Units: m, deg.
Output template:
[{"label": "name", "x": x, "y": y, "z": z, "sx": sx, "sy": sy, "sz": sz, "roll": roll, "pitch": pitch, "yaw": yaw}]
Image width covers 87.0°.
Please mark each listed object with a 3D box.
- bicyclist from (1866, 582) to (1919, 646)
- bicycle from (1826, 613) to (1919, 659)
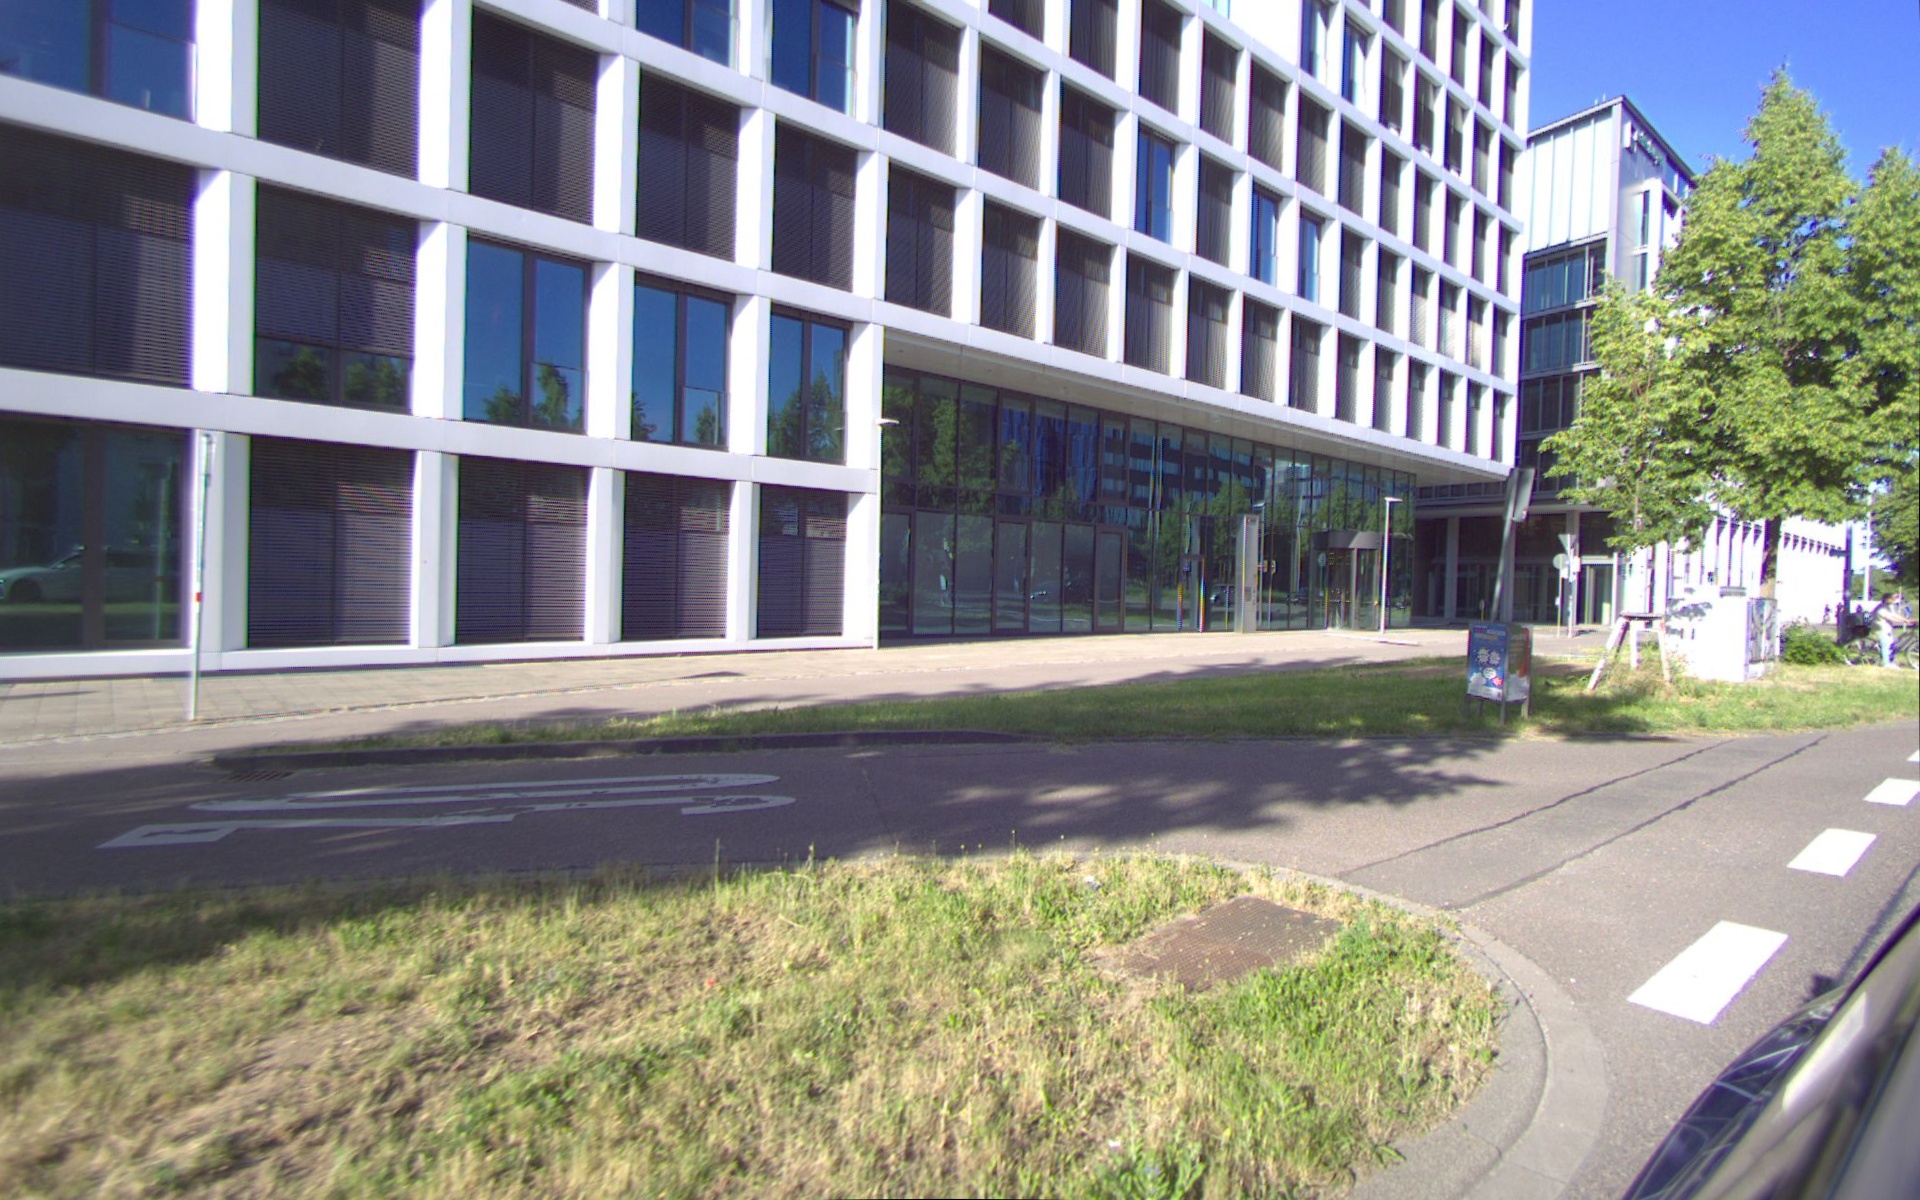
[{"label": "bicyclist", "x": 20.519, "y": 0.304, "z": 22.021, "sx": 0.627, "sy": 1.339, "sz": 1.087, "roll": 1, "pitch": 1, "yaw": -38}, {"label": "bicycle", "x": 20.339, "y": 0.777, "z": 22.219, "sx": 0.635, "sy": 0.916, "sz": 1.929, "roll": 1, "pitch": 2, "yaw": -37}]
